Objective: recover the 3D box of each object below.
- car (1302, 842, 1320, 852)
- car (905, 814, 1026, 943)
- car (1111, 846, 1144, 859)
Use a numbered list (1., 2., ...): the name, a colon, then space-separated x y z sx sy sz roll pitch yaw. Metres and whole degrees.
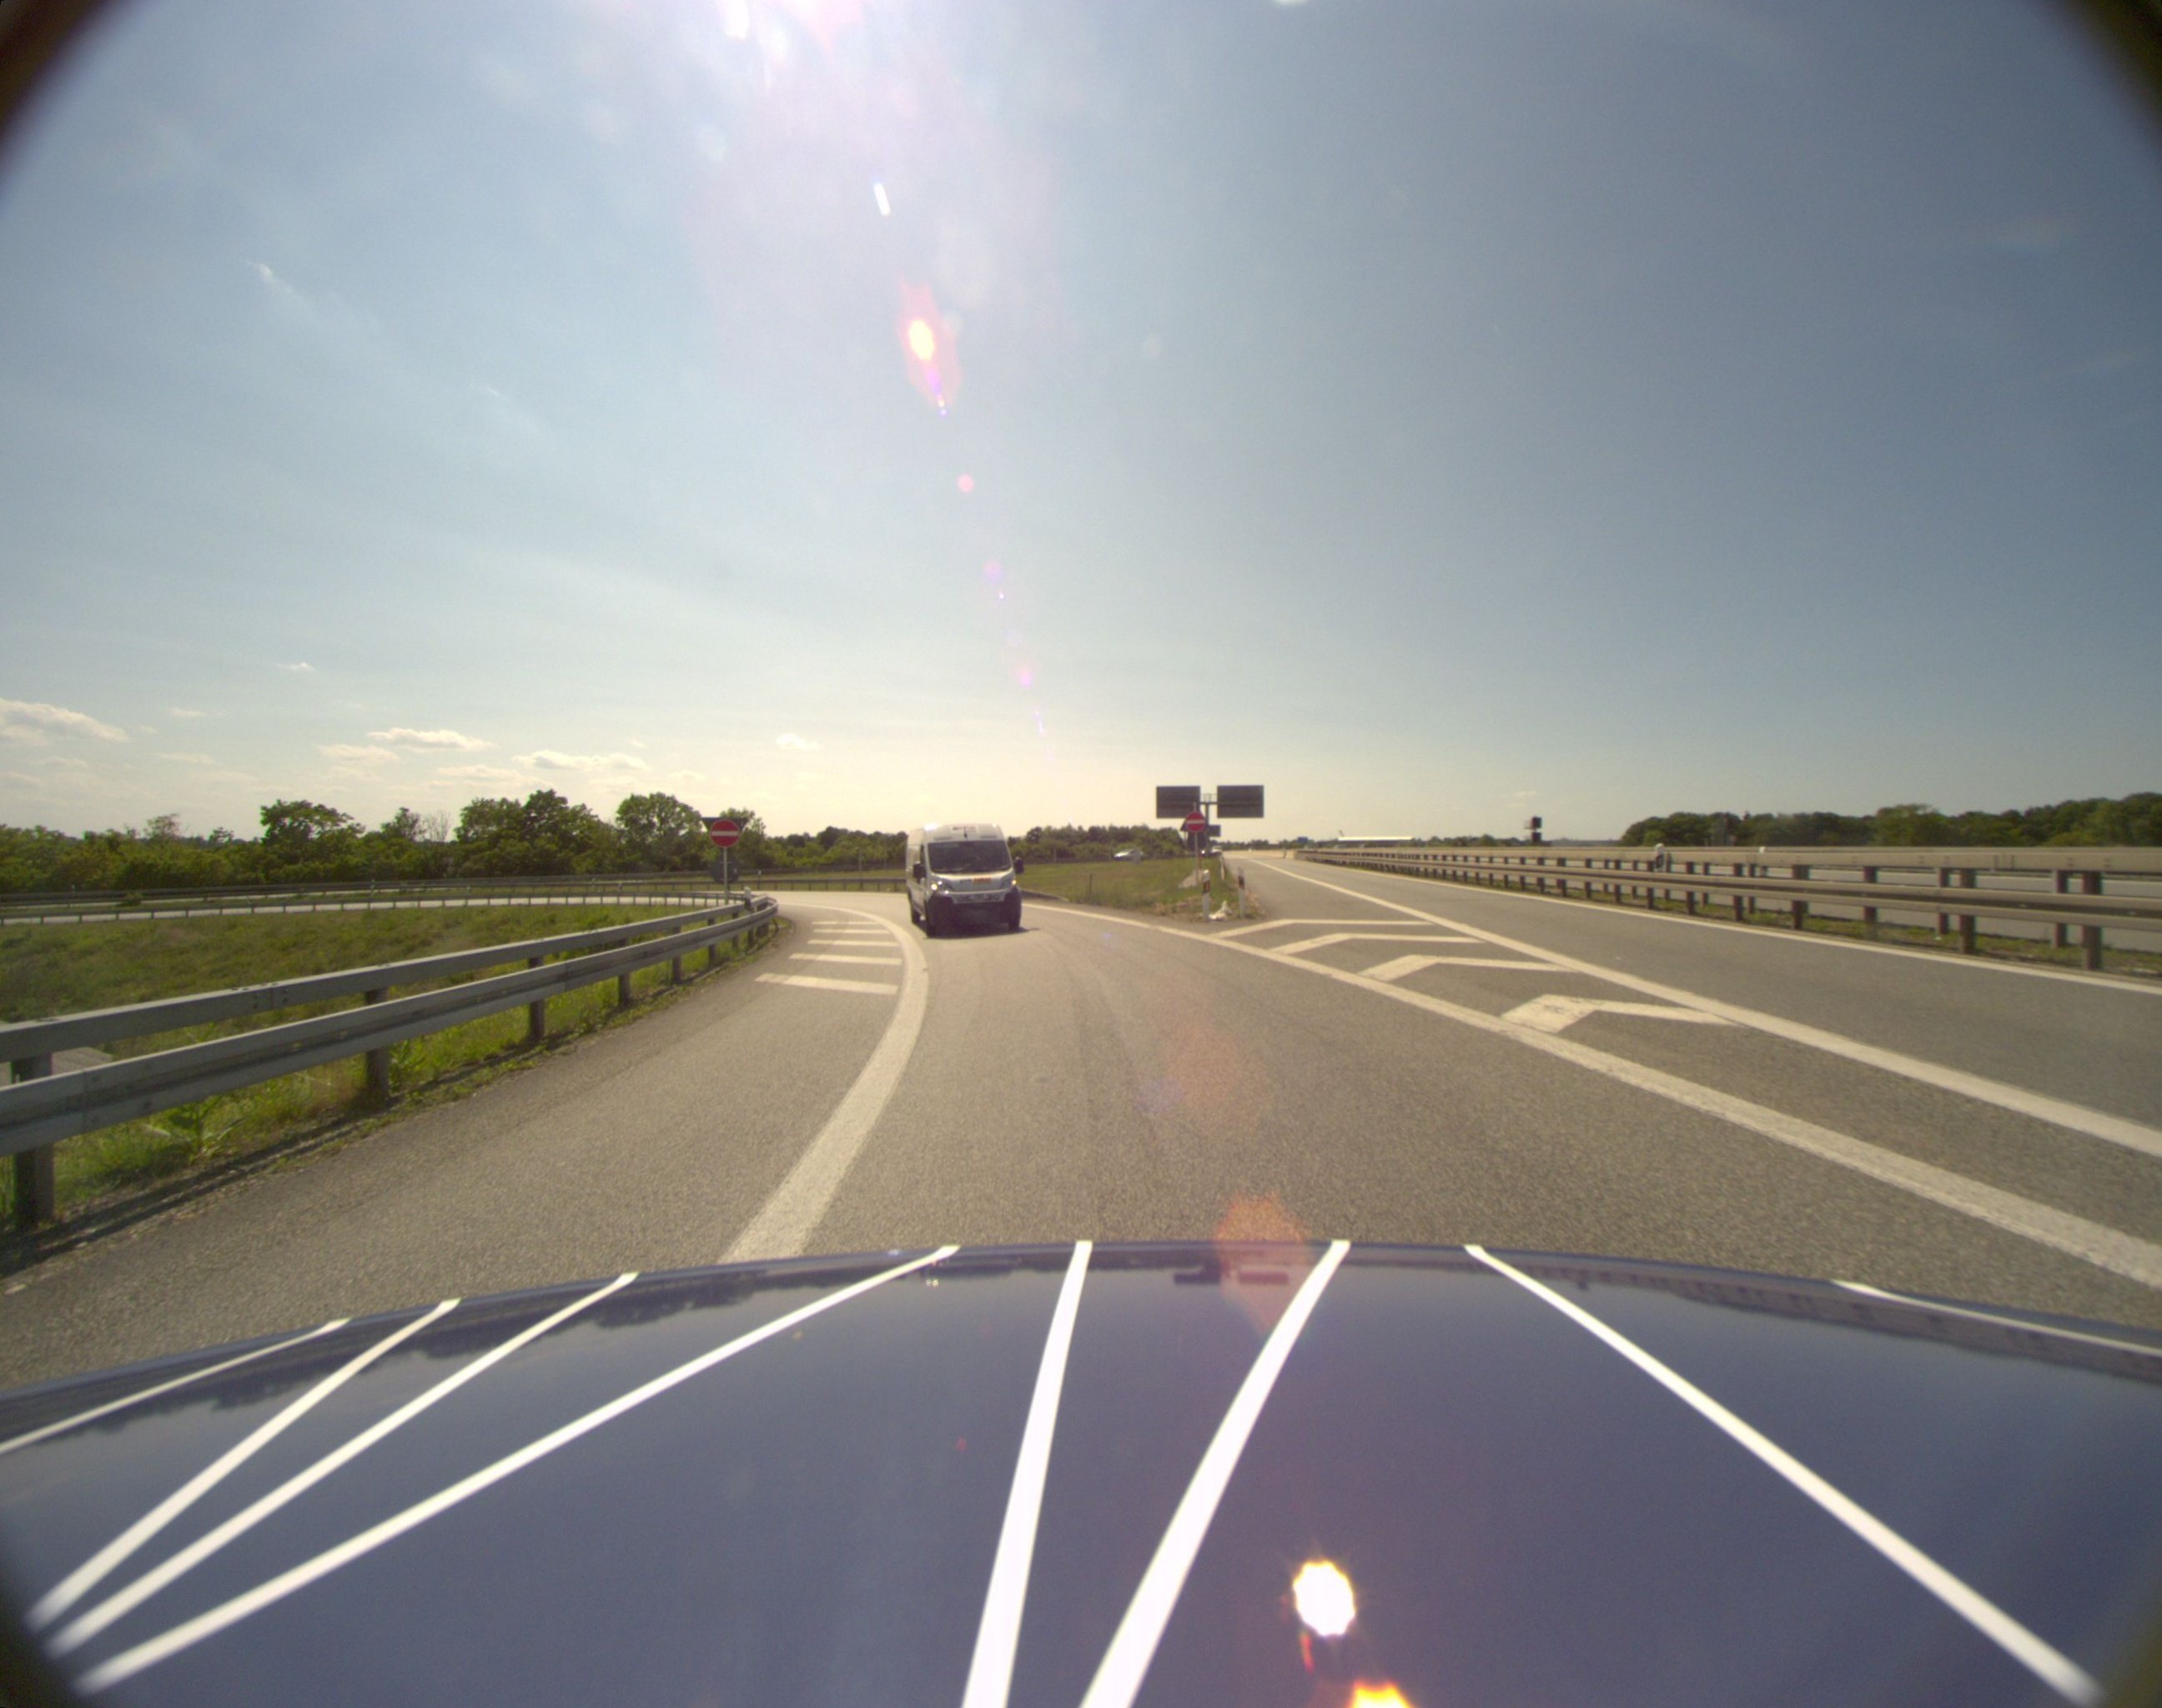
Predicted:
1. car: 35.095 -1.024 116.079 1.833 1.424 4.218 -1 1 7
2. car: -3.054 0.523 18.655 2.090 2.509 6.229 -4 0 -15
3. car: 6.288 -0.215 102.147 1.994 1.499 4.307 -2 1 43
